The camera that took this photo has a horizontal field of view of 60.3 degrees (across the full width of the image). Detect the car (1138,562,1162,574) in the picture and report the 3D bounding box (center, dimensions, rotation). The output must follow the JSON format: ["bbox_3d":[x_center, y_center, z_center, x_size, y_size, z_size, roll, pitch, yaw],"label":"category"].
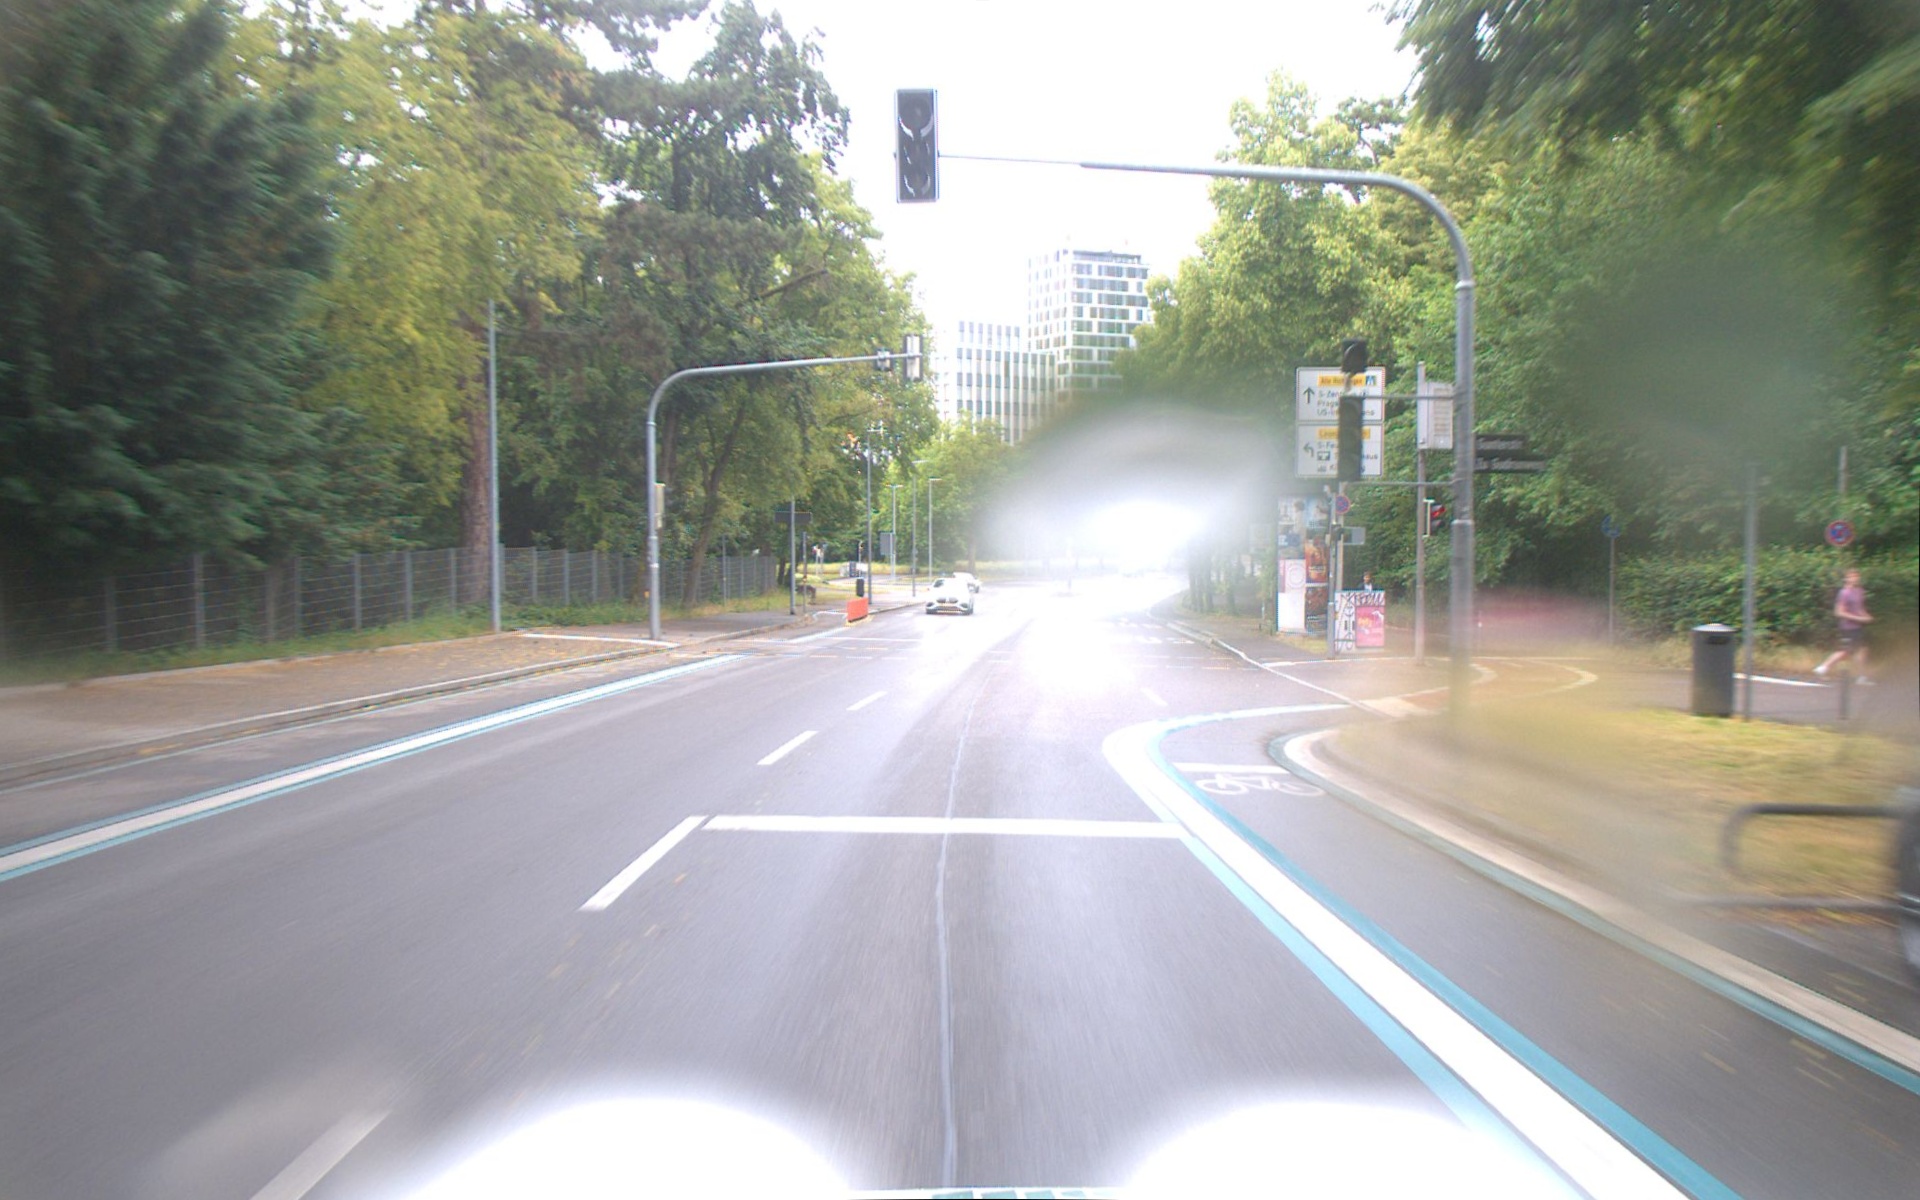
[{"bbox_3d":[21.406,-3.602,186.383,1.771,1.309,3.740,1,1,21],"label":"car"}]

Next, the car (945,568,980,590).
[{"bbox_3d":[0.174,-1.540,122.535,1.576,1.467,3.984,1,2,-16],"label":"car"}]

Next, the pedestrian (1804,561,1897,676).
[{"bbox_3d":[14.023,0.278,26.040,1.125,1.763,0.885,1,0,40],"label":"pedestrian"}]

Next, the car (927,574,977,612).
[{"bbox_3d":[-0.326,-0.323,70.973,1.805,1.482,4.503,1,2,4],"label":"car"}]

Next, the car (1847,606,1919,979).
[{"bbox_3d":[4.681,0.799,4.633,1.721,1.465,4.857,2,0,-1],"label":"car"}]
